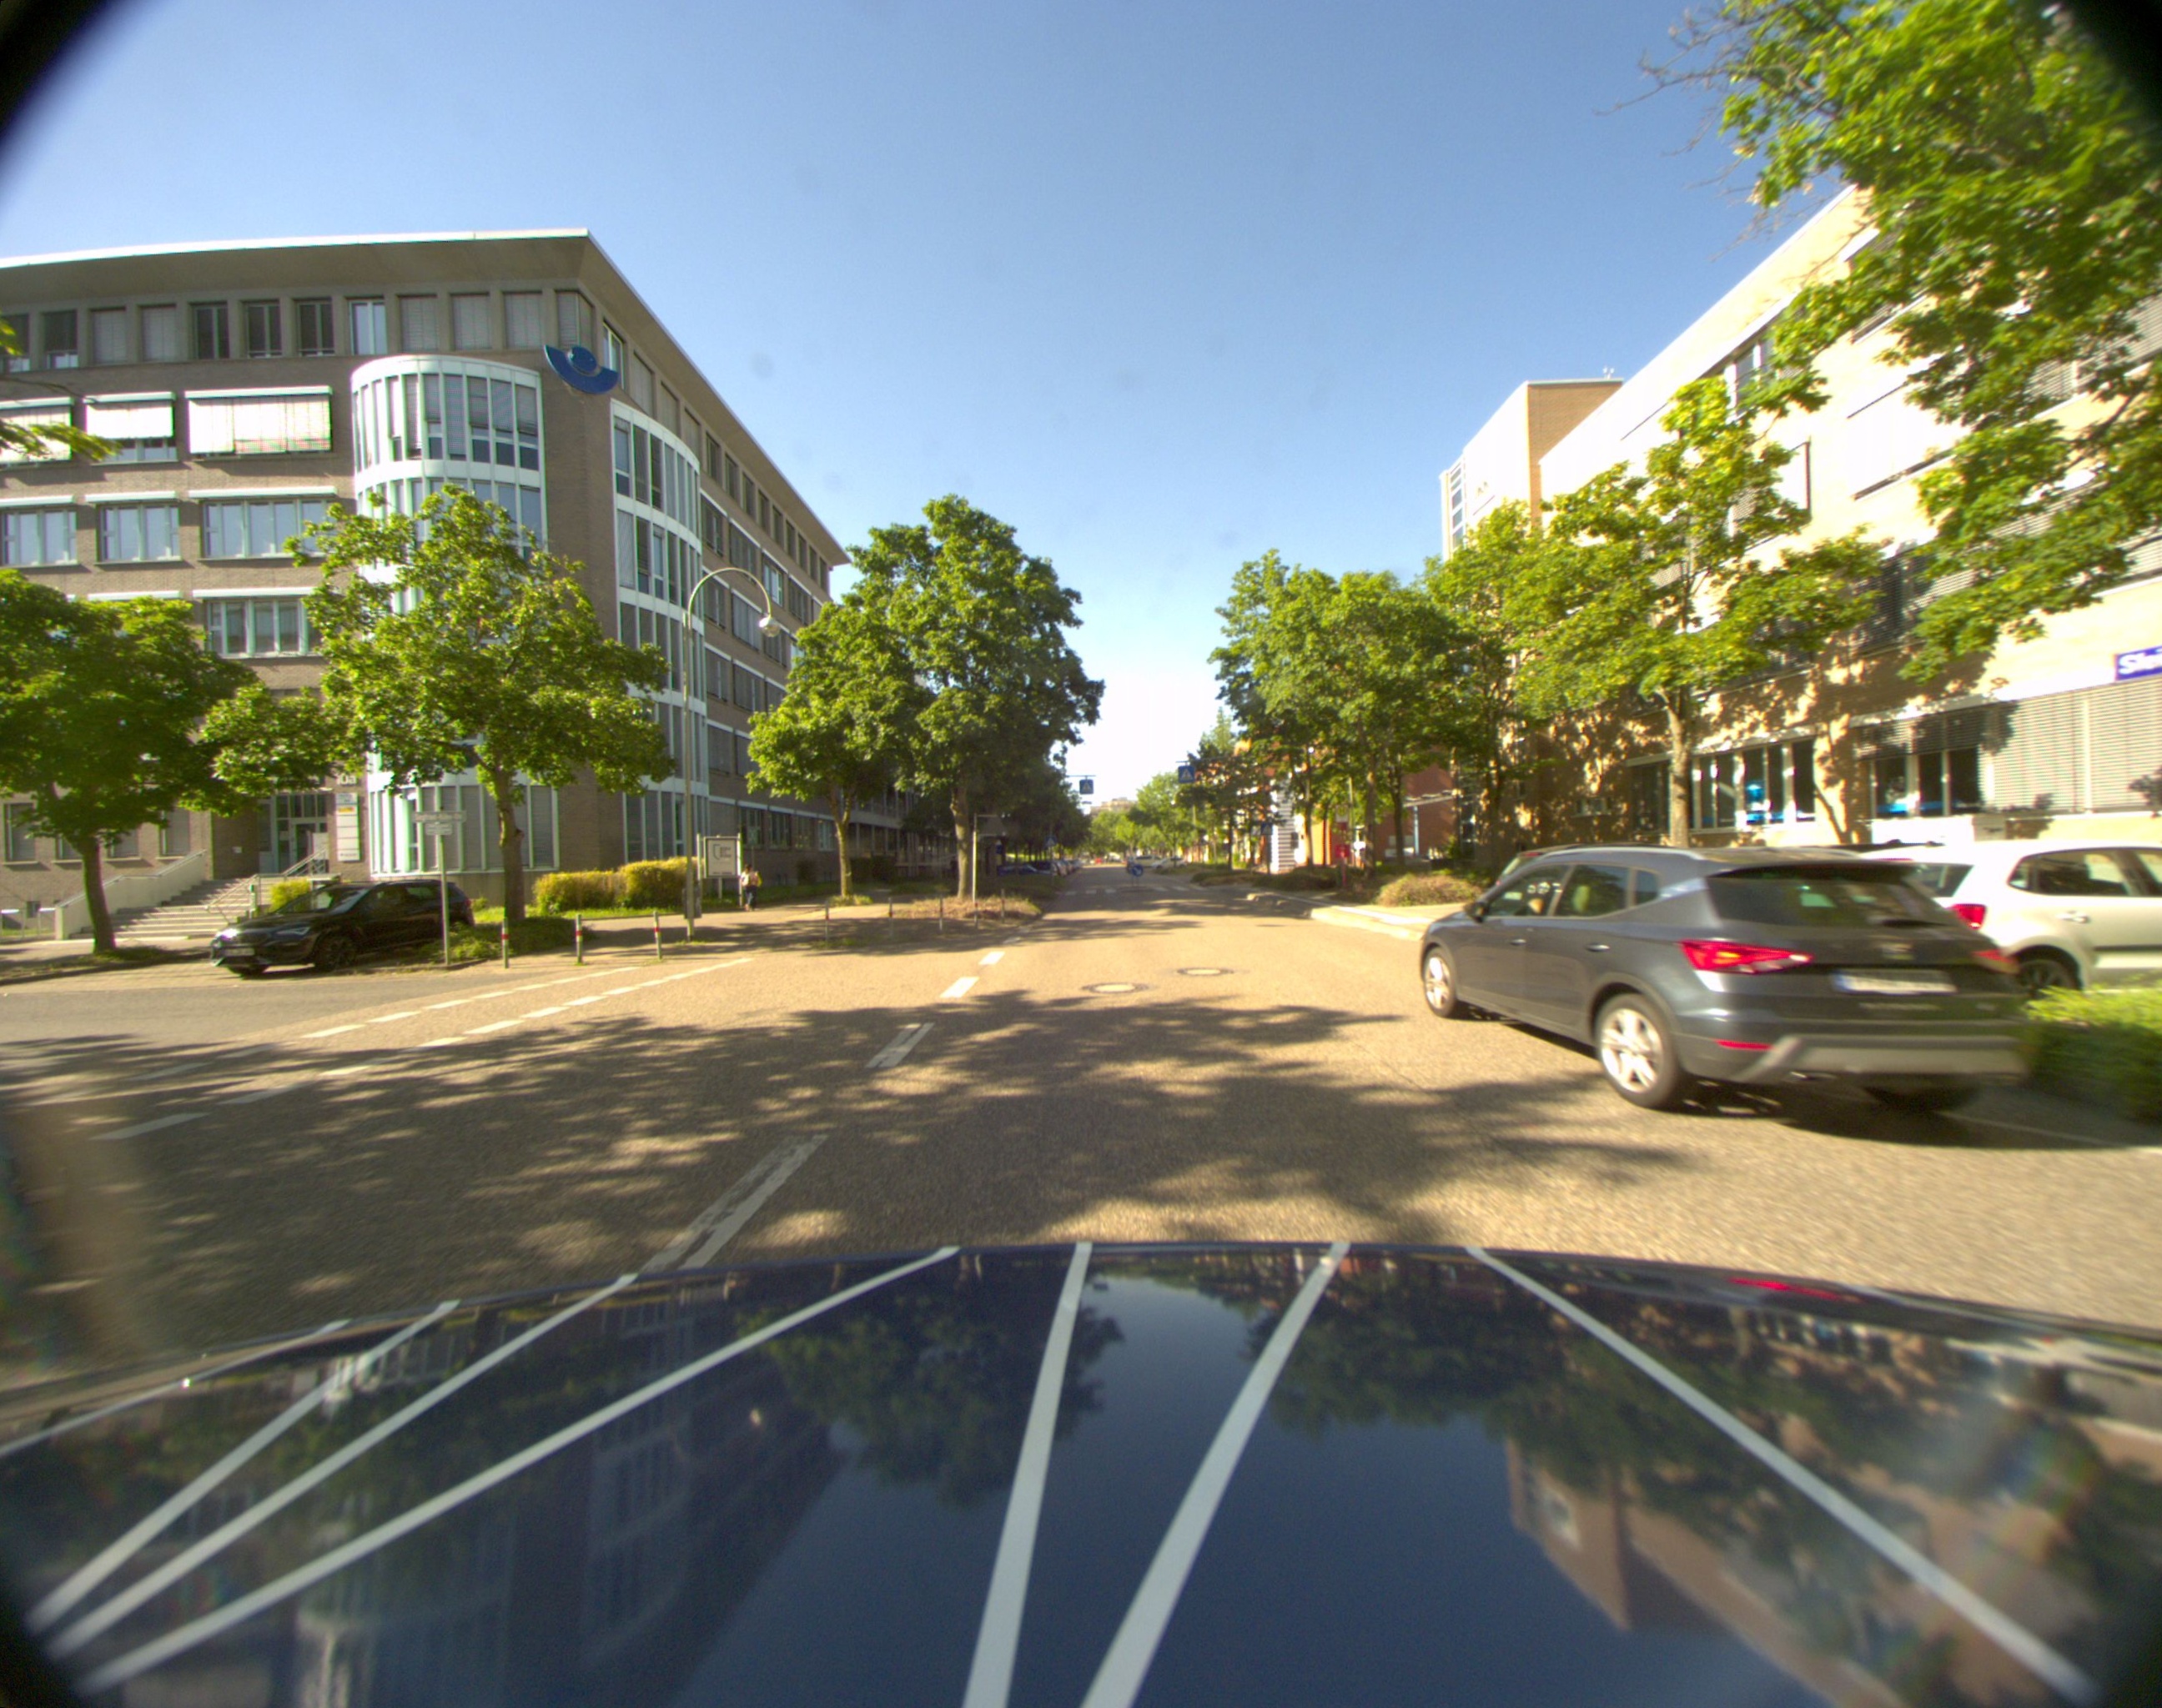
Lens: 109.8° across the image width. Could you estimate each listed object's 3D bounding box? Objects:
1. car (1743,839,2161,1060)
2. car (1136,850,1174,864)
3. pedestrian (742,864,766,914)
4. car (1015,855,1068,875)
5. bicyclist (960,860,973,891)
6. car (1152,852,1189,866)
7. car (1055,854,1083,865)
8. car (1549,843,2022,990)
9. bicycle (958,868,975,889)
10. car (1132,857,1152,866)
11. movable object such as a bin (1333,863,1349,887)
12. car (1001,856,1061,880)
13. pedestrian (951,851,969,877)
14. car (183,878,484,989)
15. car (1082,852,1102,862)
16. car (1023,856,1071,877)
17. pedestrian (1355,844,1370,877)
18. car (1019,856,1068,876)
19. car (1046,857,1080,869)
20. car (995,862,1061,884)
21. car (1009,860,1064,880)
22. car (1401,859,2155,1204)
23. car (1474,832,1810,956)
[{"bbox_3d":[8.382,0.700,6.522,3.763,1.444,1.754,-4,0,1],"label":"car"},{"bbox_3d":[10.635,0.410,109.321,5.317,1.875,2.000,-1,0,2],"label":"car"},{"bbox_3d":[-10.707,1.133,24.878,0.539,1.573,0.648,-2,0,-8],"label":"pedestrian"},{"bbox_3d":[-3.145,0.837,60.641,4.136,1.508,1.836,-1,0,-3],"label":"car"},{"bbox_3d":[-6.214,1.159,41.258,0.538,1.627,0.822,-2,0,2],"label":"bicyclist"},{"bbox_3d":[10.184,0.581,86.923,4.003,1.411,1.618,-3,0,0],"label":"car"},{"bbox_3d":[-1.734,0.851,111.727,3.997,1.471,1.804,-1,0,-2],"label":"car"},{"bbox_3d":[8.512,0.713,9.489,4.162,1.394,1.801,-4,0,1],"label":"car"},{"bbox_3d":[-6.207,1.294,41.288,0.535,1.072,1.920,-2,0,2],"label":"bicycle"},{"bbox_3d":[10.778,1.321,134.430,3.451,1.619,1.595,-1,0,1],"label":"car"},{"bbox_3d":[8.393,0.678,24.500,0.442,0.727,0.408,-3,1,17],"label":"movable object such as a bin"},{"bbox_3d":[-3.533,0.988,53.518,4.136,1.581,1.659,0,2,-3],"label":"car"},{"bbox_3d":[-8.459,0.696,53.177,1.037,1.788,1.018,-3,1,0],"label":"pedestrian"},{"bbox_3d":[-14.679,1.452,15.364,1.742,1.557,4.363,-3,2,-2],"label":"car"},{"bbox_3d":[1.986,0.535,135.213,3.554,1.544,1.743,0,-2,-2],"label":"car"},{"bbox_3d":[-3.001,1.084,67.031,4.136,1.657,1.907,-2,0,-3],"label":"car"},{"bbox_3d":[17.238,0.419,46.558,0.623,1.911,0.670,-3,13,2],"label":"pedestrian"},{"bbox_3d":[-3.132,0.980,64.052,3.996,1.575,1.714,-1,1,3],"label":"car"},{"bbox_3d":[-2.090,1.050,89.102,3.916,1.374,1.587,0,1,-2],"label":"car"},{"bbox_3d":[-3.392,1.188,48.846,4.126,1.362,1.654,0,0,-2],"label":"car"},{"bbox_3d":[-3.379,1.202,57.978,4.136,1.452,1.660,0,0,-3],"label":"car"},{"bbox_3d":[4.027,0.830,5.474,1.784,1.502,4.000,-2,0,1],"label":"car"},{"bbox_3d":[8.776,0.598,12.149,3.997,1.561,1.728,-4,0,0],"label":"car"}]
